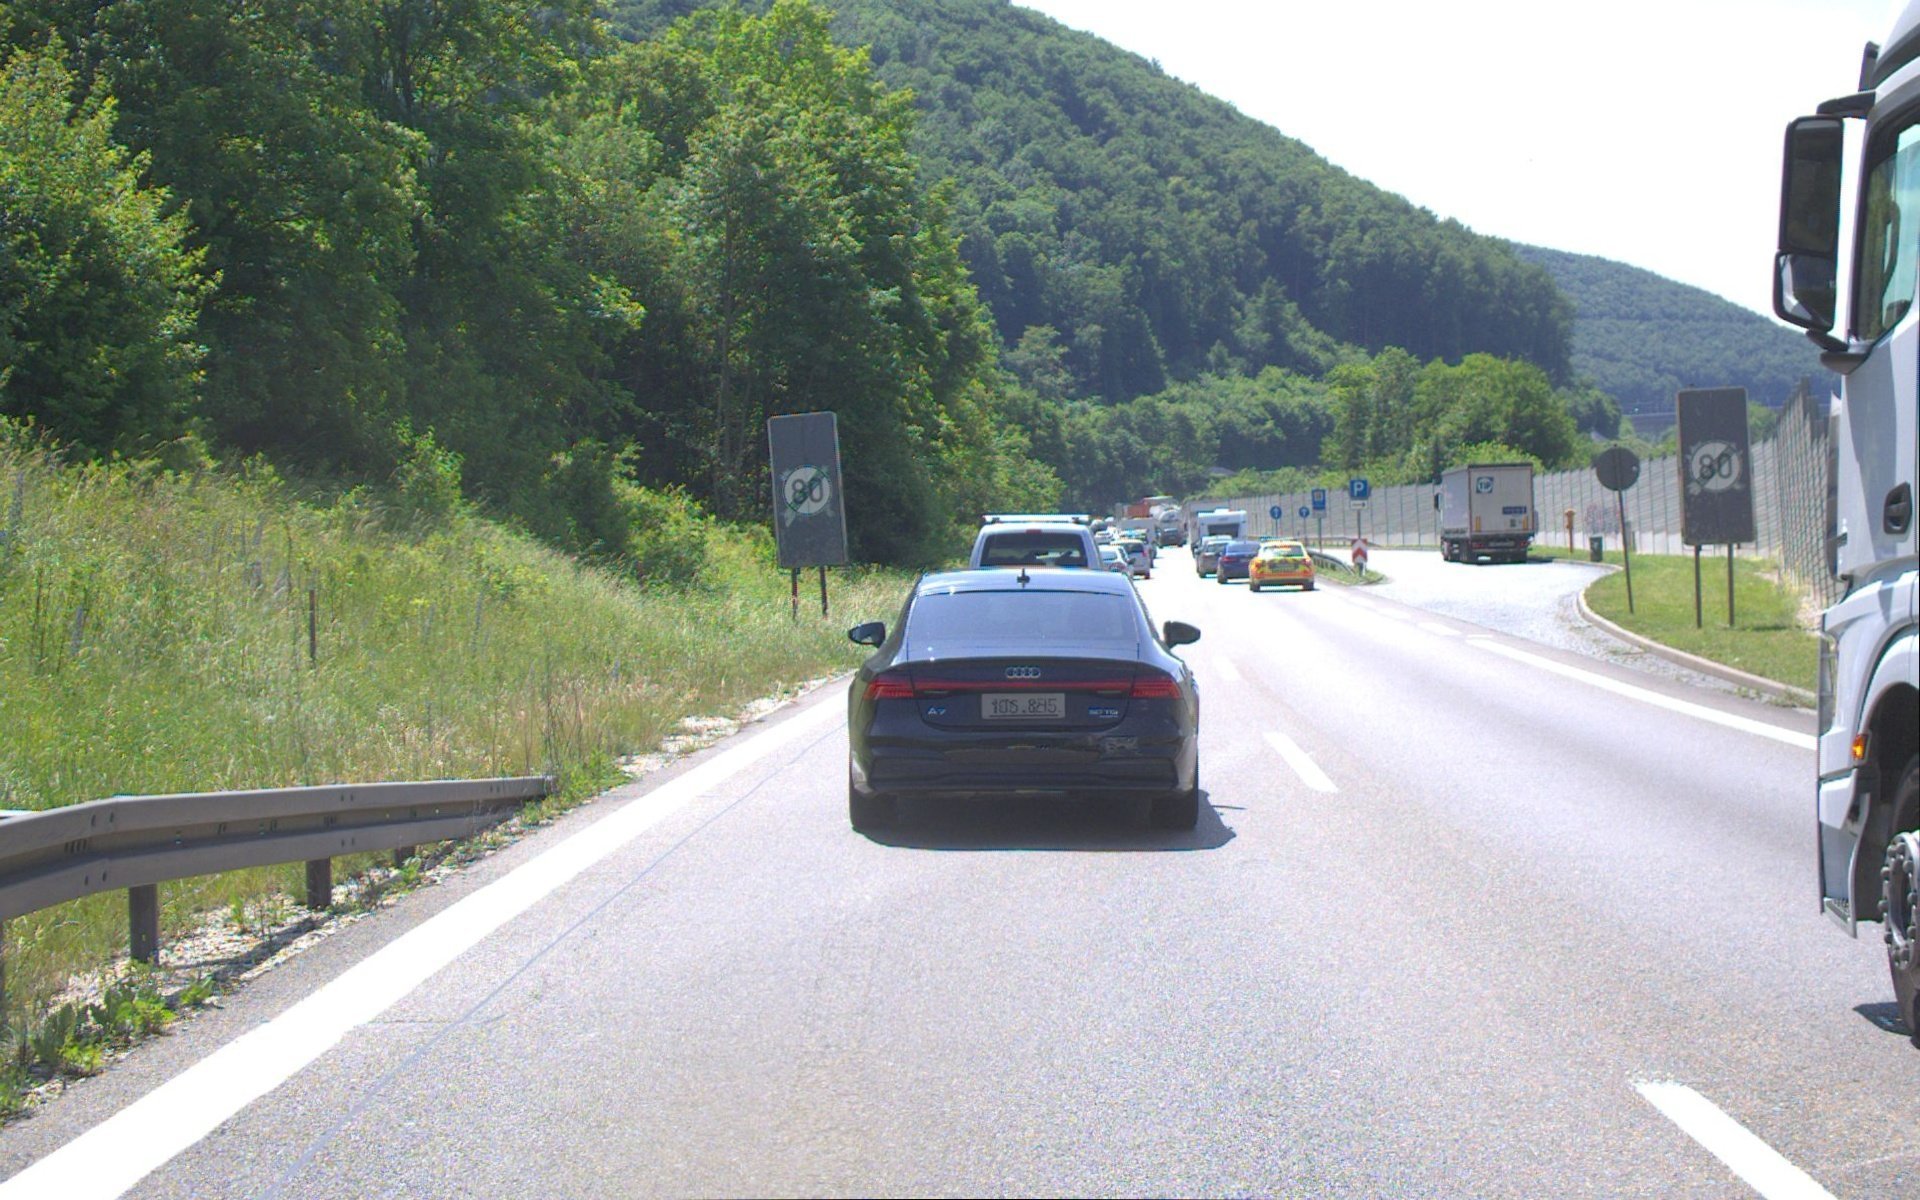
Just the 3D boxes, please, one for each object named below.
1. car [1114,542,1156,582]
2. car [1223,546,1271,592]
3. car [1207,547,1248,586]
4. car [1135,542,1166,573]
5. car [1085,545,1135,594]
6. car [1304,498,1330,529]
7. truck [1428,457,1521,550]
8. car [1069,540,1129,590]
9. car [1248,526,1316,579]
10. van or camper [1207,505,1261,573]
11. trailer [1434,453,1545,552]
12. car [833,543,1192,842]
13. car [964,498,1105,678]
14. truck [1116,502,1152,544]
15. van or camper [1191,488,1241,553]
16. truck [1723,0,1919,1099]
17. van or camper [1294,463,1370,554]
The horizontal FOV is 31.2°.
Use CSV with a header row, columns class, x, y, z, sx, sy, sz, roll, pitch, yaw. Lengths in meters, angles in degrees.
class,x,y,z,sx,sy,sz,roll,pitch,yaw
car,7.099,-1.529,139.461,1.521,1.547,3.514,2,1,5
car,9.701,-1.052,116.395,1.530,1.520,3.596,1,0,4
car,10.598,-1.325,136.274,1.530,1.520,3.596,1,0,4
car,9.849,-2.176,177.682,1.521,1.547,3.514,2,1,4
car,4.895,-0.995,111.907,1.521,1.547,3.514,2,1,4
car,23.894,-5.803,230.423,1.576,2.007,3.428,-1,1,4
truck,22.015,-4.111,147.376,3.412,3.887,5.387,-1,1,3
car,3.756,-0.956,93.186,1.521,1.290,3.514,1,1,1
car,9.472,-1.400,101.252,1.879,1.493,4.000,-1,1,4
van or camper,13.095,-2.877,164.400,2.429,3.144,5.203,1,0,4
trailer,21.729,-3.974,141.557,3.412,3.887,11.150,-1,1,3
car,0.357,0.445,19.188,1.812,1.509,3.514,0,1,3
car,0.853,-0.156,40.129,1.521,1.961,3.514,2,1,1
truck,11.388,-5.030,225.228,2.065,2.596,5.613,2,1,5
van or camper,15.814,-4.870,212.673,2.795,3.894,6.167,1,0,2
truck,4.057,-0.630,8.947,2.719,4.054,5.755,0,0,-2
van or camper,16.347,-3.985,151.315,2.795,3.828,6.167,1,0,2
